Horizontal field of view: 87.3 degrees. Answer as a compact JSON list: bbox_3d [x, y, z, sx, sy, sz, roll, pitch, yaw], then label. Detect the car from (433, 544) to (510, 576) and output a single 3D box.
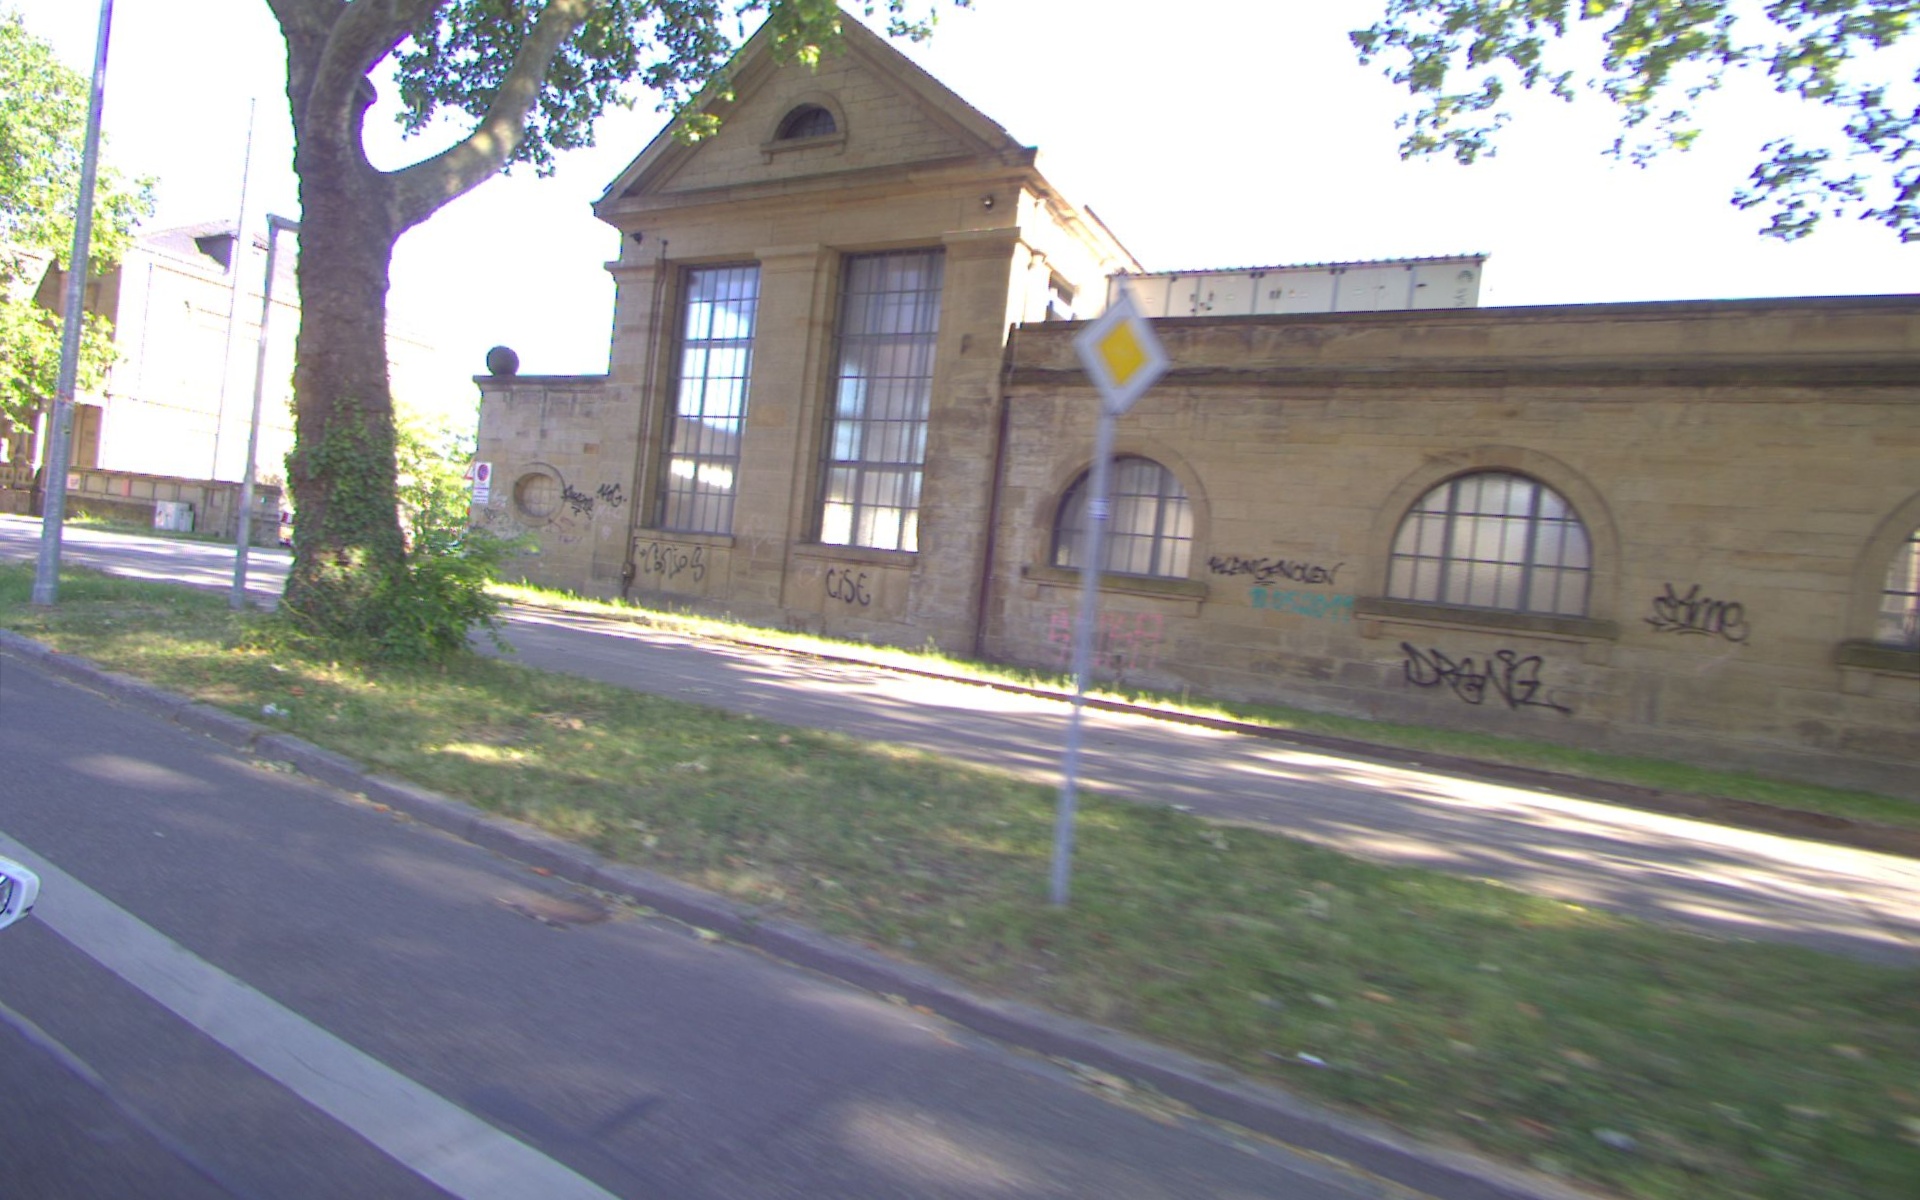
[{"bbox_3d":[-31.415,-2.572,64.748,4.096,1.528,1.781,8,-2,-39],"label":"car"}]
